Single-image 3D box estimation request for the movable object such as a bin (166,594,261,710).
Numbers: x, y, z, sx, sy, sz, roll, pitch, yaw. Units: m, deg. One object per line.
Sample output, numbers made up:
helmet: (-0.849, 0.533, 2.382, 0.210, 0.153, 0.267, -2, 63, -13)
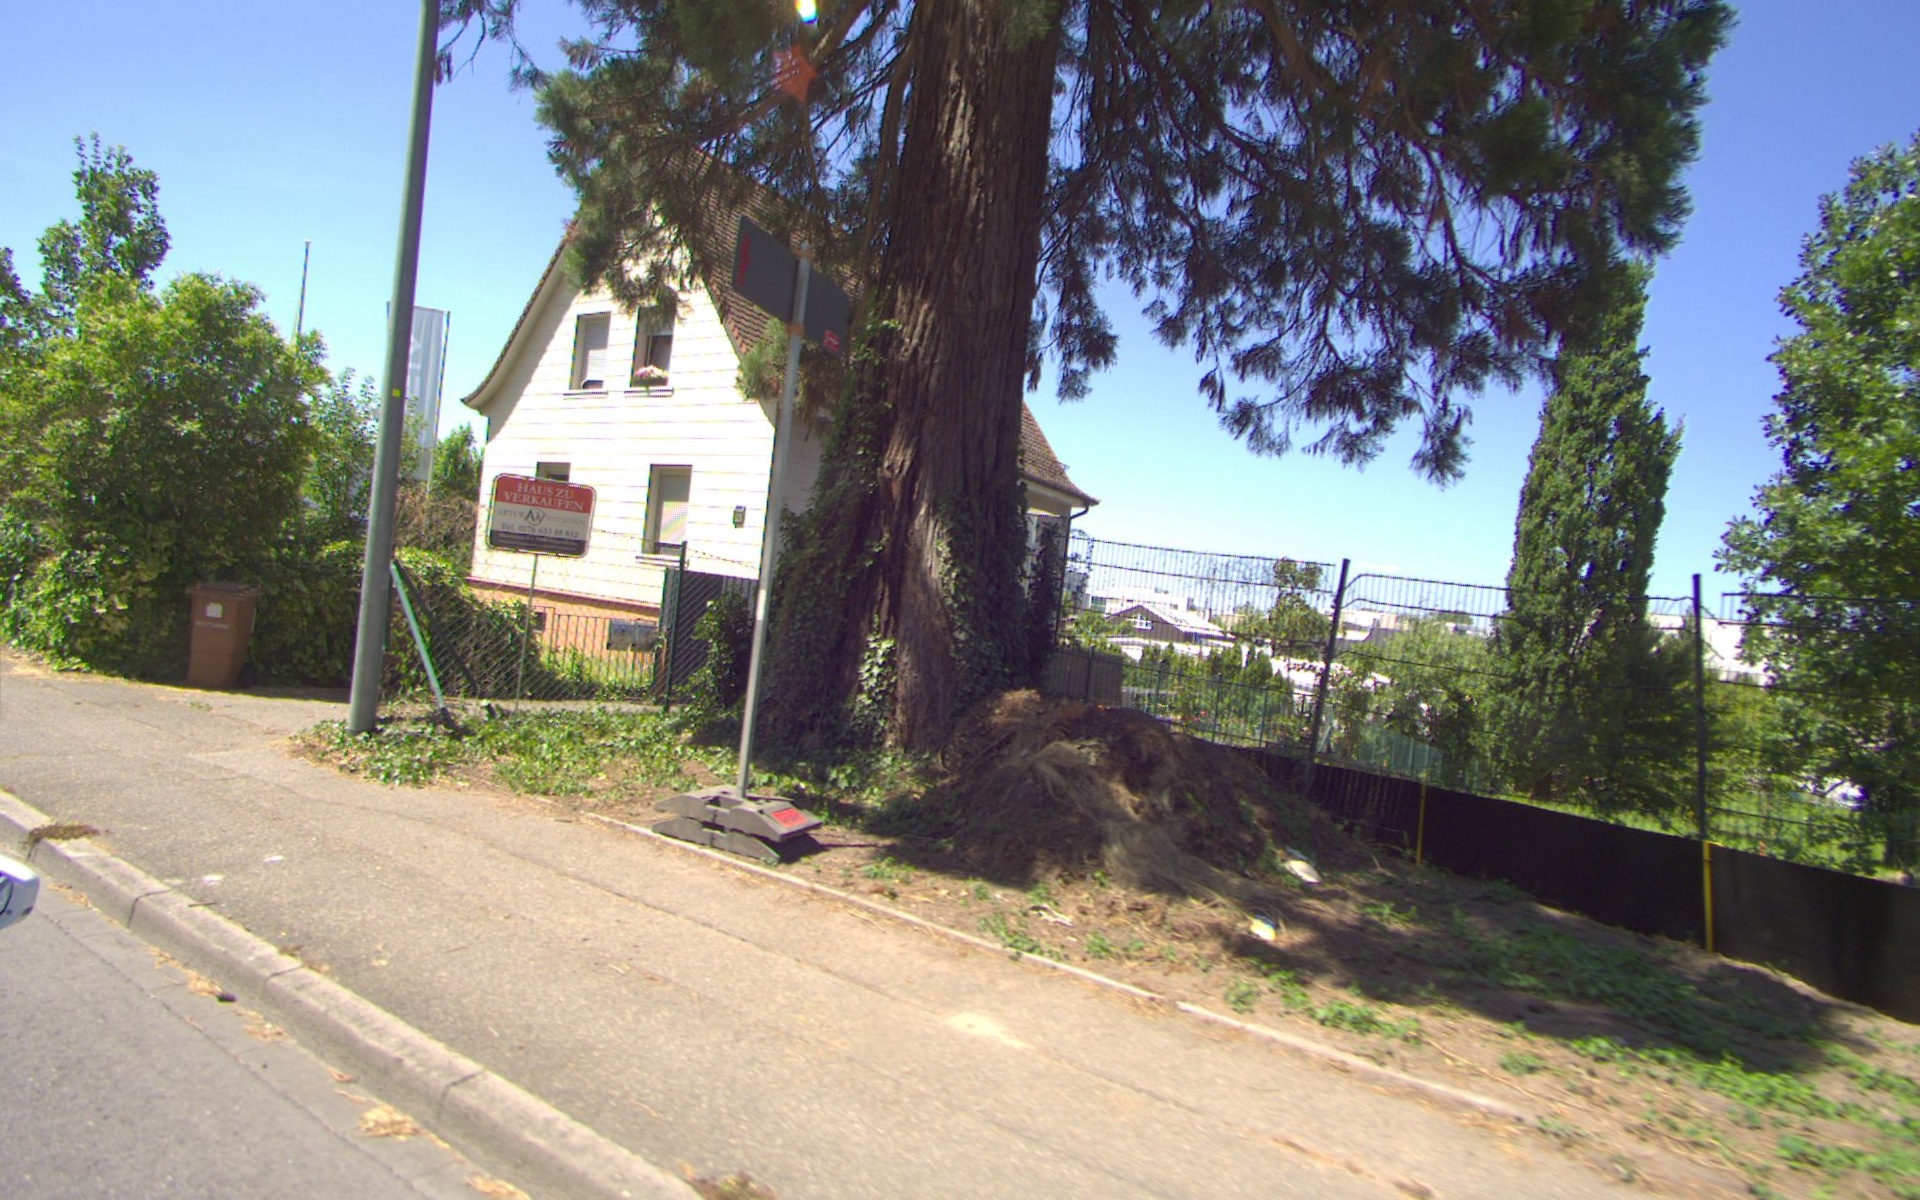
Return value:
movable object such as a bin: (-6.558, 0.452, 8.859, 0.466, 0.938, 0.521, 9, -2, -25)
